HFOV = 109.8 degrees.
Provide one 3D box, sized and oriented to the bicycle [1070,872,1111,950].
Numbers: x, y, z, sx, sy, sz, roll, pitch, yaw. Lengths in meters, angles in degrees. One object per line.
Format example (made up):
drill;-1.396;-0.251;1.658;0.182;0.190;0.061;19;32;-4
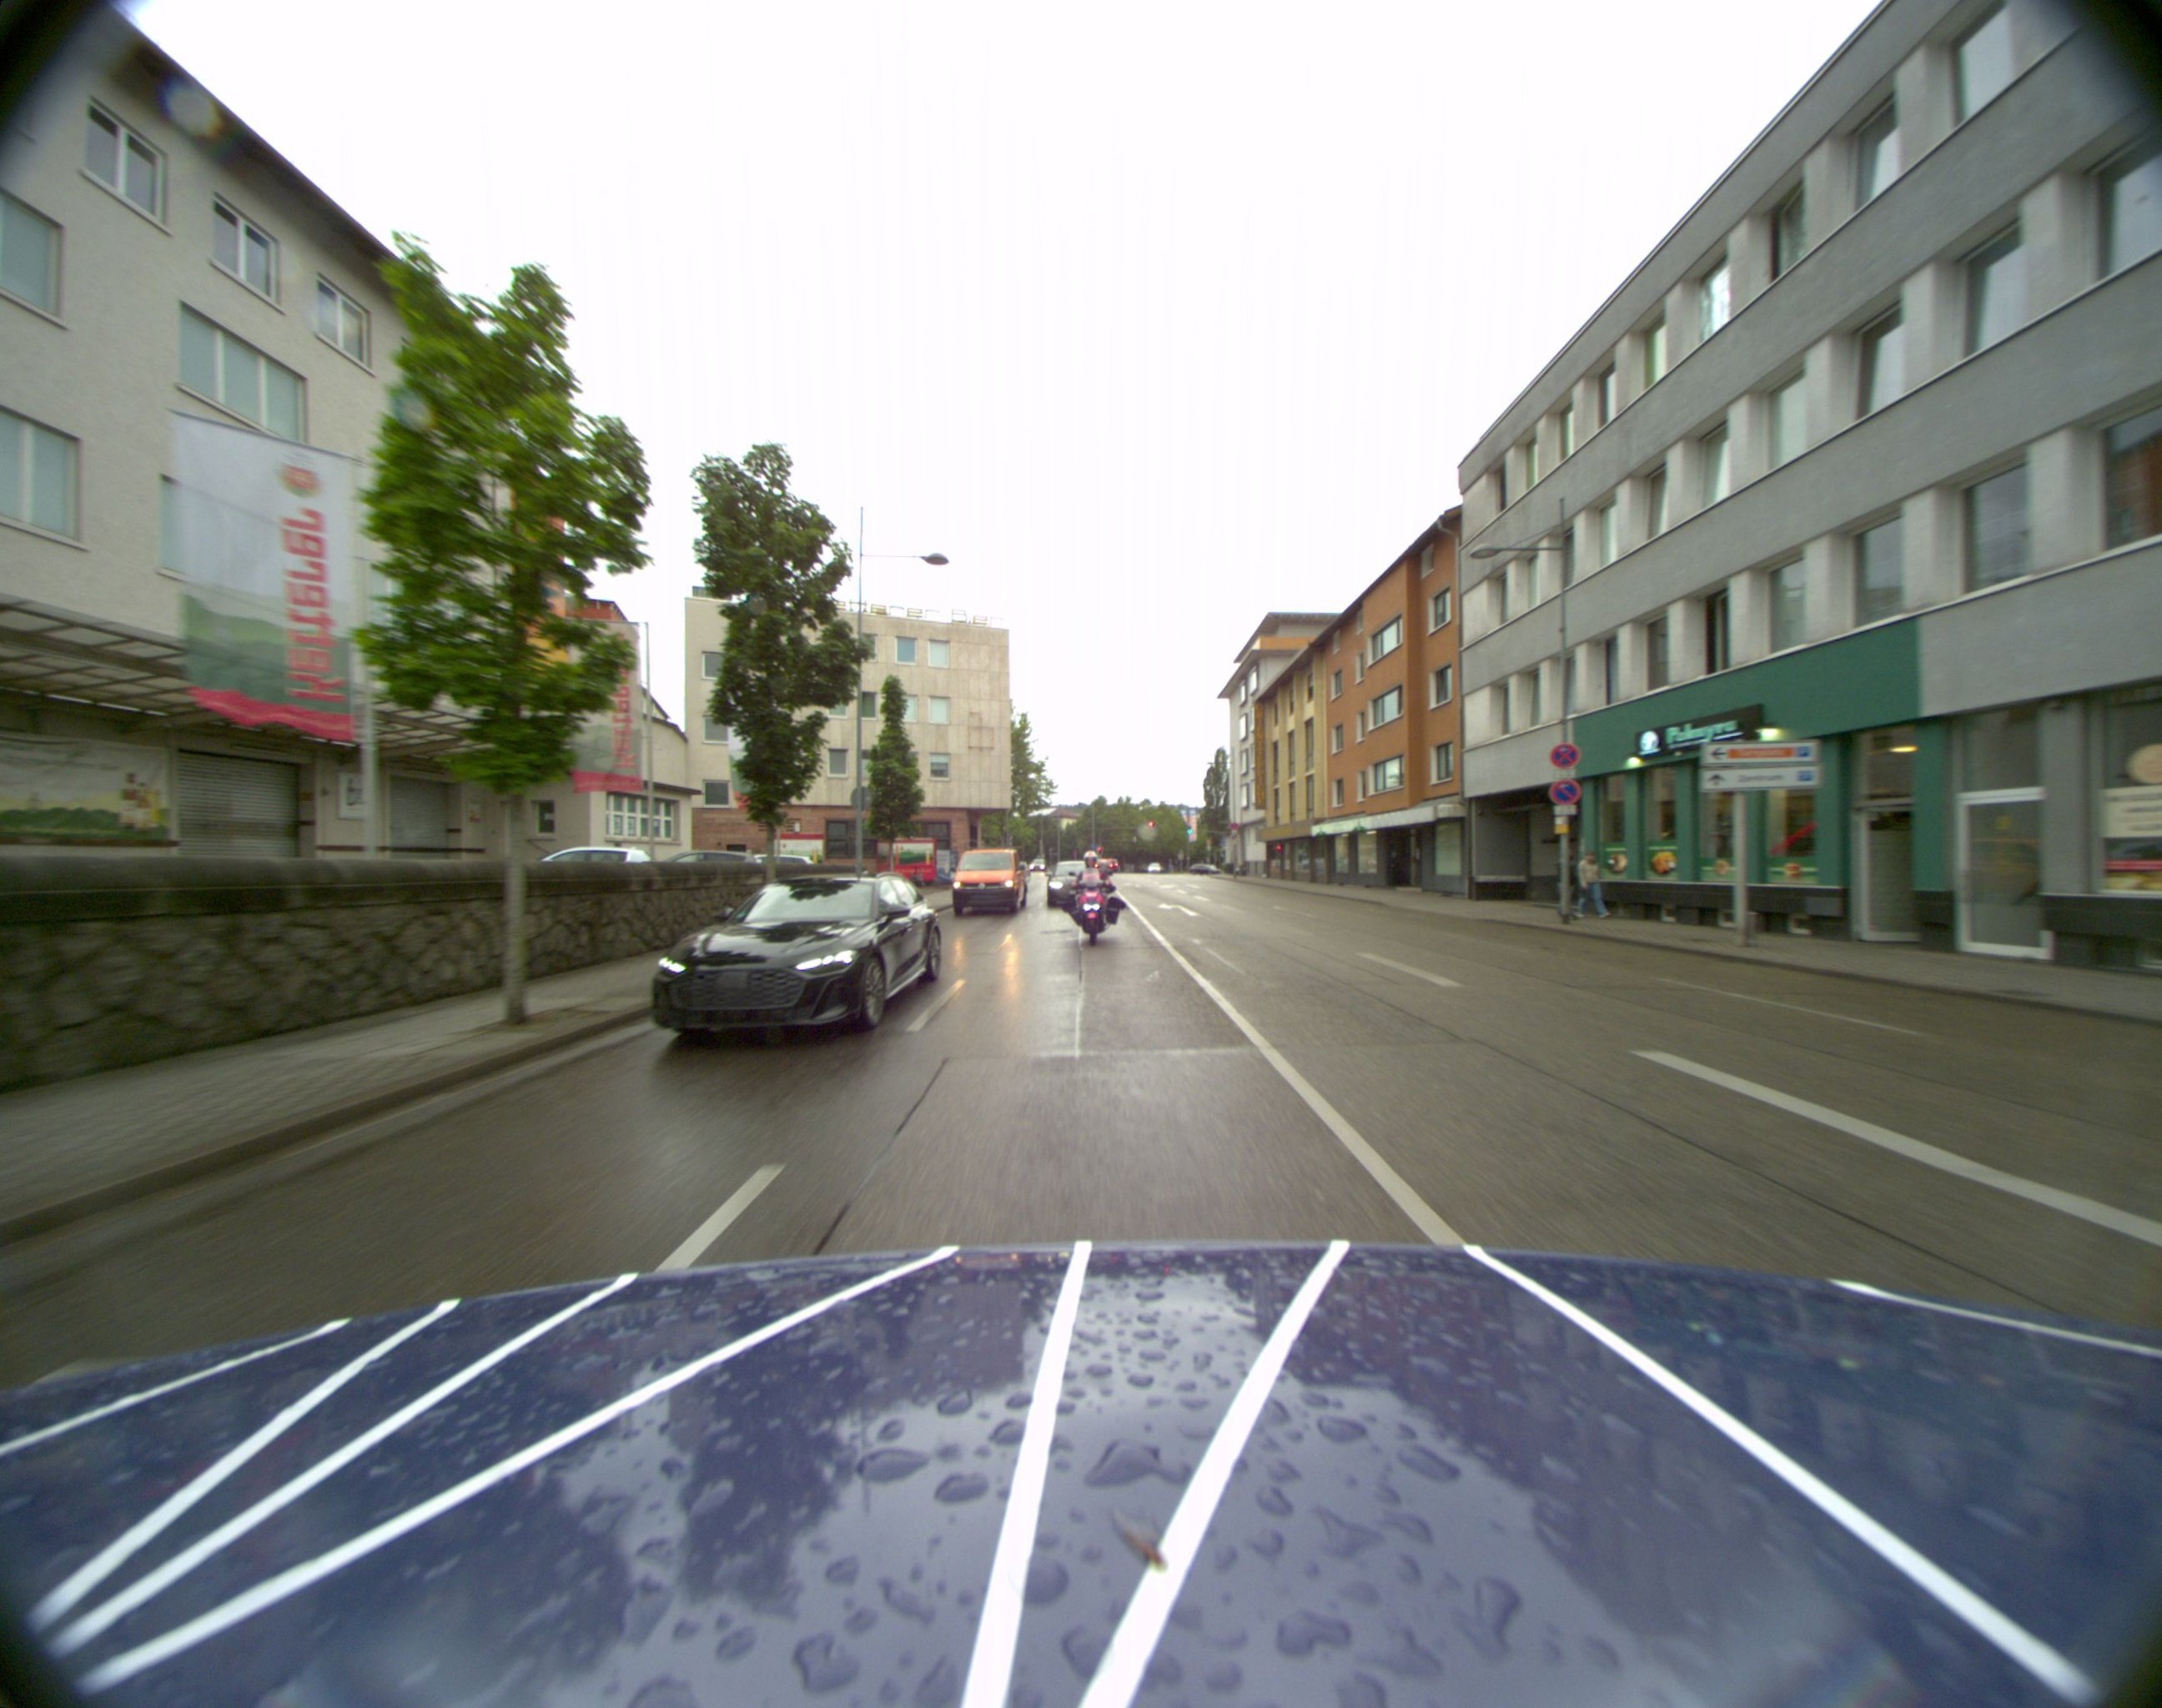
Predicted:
bicycle;0.213;1.033;14.554;0.717;1.298;2.428;0;0;2

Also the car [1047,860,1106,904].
car;-0.072;0.972;26.985;1.896;1.396;4.362;-1;-1;2

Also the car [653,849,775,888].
car;-13.766;0.585;28.590;3.848;1.392;1.640;2;-2;-38

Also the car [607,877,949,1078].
car;-2.786;1.040;8.291;1.794;1.394;4.633;-2;0;1

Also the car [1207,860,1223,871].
car;17.546;1.479;99.759;1.803;1.425;4.399;-1;-1;7

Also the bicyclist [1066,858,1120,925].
bicyclist;0.231;0.681;14.169;0.963;1.219;0.715;0;1;2

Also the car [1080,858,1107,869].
car;1.802;1.341;108.353;1.892;1.479;4.370;1;0;29

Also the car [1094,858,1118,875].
car;2.205;1.064;68.370;1.737;1.431;4.412;1;0;-3

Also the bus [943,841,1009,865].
bus;-15.444;-0.139;111.889;9.632;3.197;2.711;1;-1;26

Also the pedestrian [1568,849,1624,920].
pedestrian;12.522;0.724;18.510;0.631;1.665;0.908;-5;1;0

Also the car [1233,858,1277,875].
car;16.759;1.151;73.278;3.822;1.413;1.797;2;1;1

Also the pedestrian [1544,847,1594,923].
pedestrian;11.892;0.734;18.530;0.576;1.778;0.827;-5;1;1

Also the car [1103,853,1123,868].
car;3.743;0.799;87.439;1.758;1.605;4.215;1;-1;9

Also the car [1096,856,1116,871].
car;2.559;0.981;76.208;1.558;1.389;3.730;-3;-2;8

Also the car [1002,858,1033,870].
car;-8.078;1.283;96.373;1.799;1.366;4.084;1;0;-43

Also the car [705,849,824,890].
car;-13.369;0.670;32.237;4.285;1.639;1.863;2;-2;-38

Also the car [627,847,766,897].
car;-13.078;0.621;25.903;4.008;1.573;1.767;2;-1;-35

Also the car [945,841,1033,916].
car;-2.766;0.706;24.162;2.107;2.077;5.541;-1;0;0

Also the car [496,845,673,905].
car;-14.059;0.584;21.617;3.989;1.558;1.922;0;-2;-41

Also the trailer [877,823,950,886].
trailer;-9.144;0.016;41.008;2.640;3.158;5.704;1;0;-25

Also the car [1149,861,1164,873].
car;11.143;1.890;111.717;1.895;1.566;4.364;1;0;8

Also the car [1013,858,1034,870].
car;-11.688;2.096;153.963;1.968;2.305;5.023;1;-1;24

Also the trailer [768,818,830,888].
trailer;-14.498;-0.051;38.948;2.753;3.288;6.061;0;0;-21
